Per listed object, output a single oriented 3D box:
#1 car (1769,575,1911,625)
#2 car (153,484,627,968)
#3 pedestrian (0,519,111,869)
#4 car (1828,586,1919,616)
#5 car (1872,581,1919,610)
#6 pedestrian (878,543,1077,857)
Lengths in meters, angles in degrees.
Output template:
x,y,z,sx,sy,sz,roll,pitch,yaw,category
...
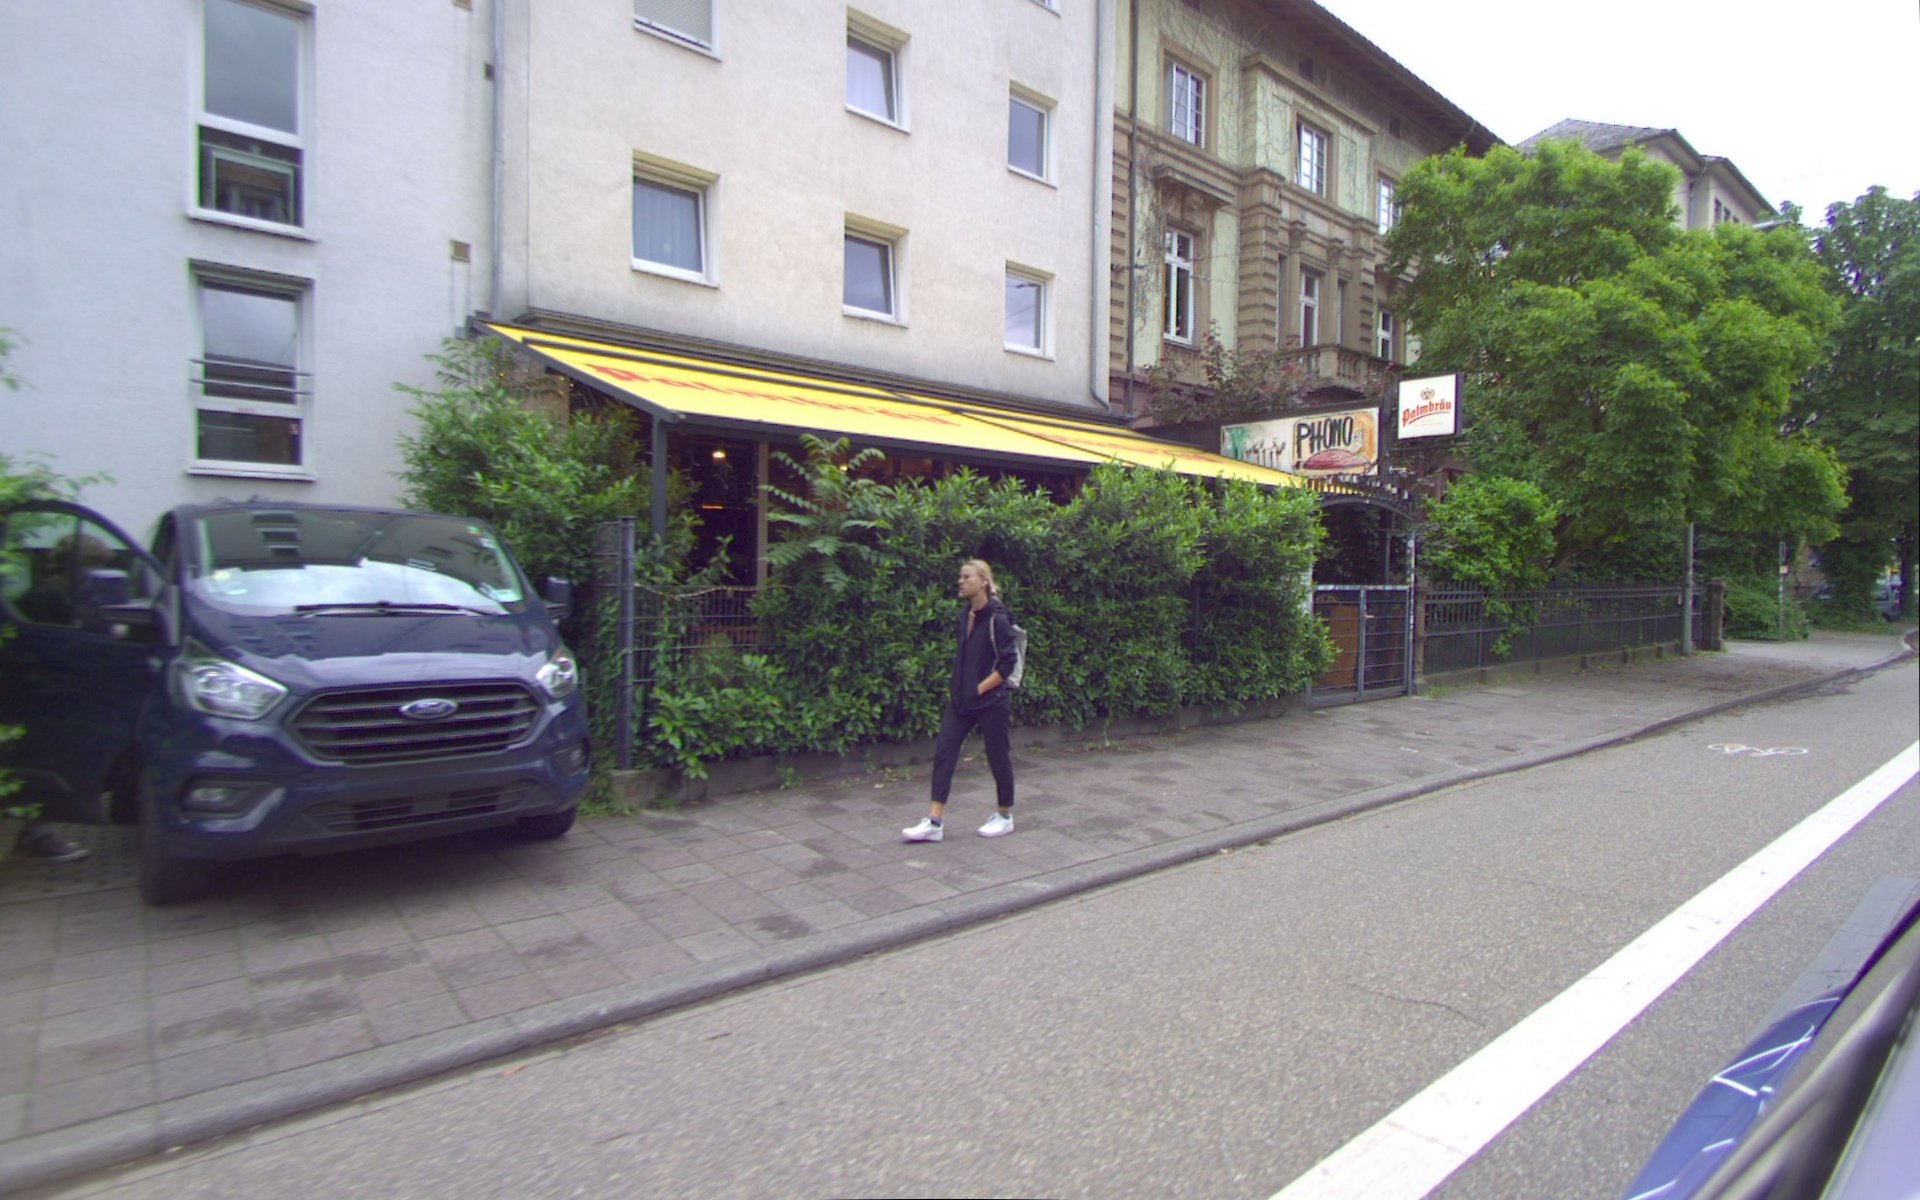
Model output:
x,y,z,sx,sy,sz,roll,pitch,yaw,category
34.841,-0.035,40.189,3.791,1.843,1.796,2,2,19,car
-3.652,0.364,6.067,1.790,1.831,4.293,0,3,-38,car
-4.825,0.447,5.234,0.627,1.700,0.741,0,1,-37,pedestrian
47.115,0.044,51.337,4.273,1.419,1.745,2,2,17,car
53.435,-0.207,55.799,4.286,1.571,1.733,2,1,28,car
0.110,0.533,6.041,0.943,1.691,0.624,0,4,-42,pedestrian
